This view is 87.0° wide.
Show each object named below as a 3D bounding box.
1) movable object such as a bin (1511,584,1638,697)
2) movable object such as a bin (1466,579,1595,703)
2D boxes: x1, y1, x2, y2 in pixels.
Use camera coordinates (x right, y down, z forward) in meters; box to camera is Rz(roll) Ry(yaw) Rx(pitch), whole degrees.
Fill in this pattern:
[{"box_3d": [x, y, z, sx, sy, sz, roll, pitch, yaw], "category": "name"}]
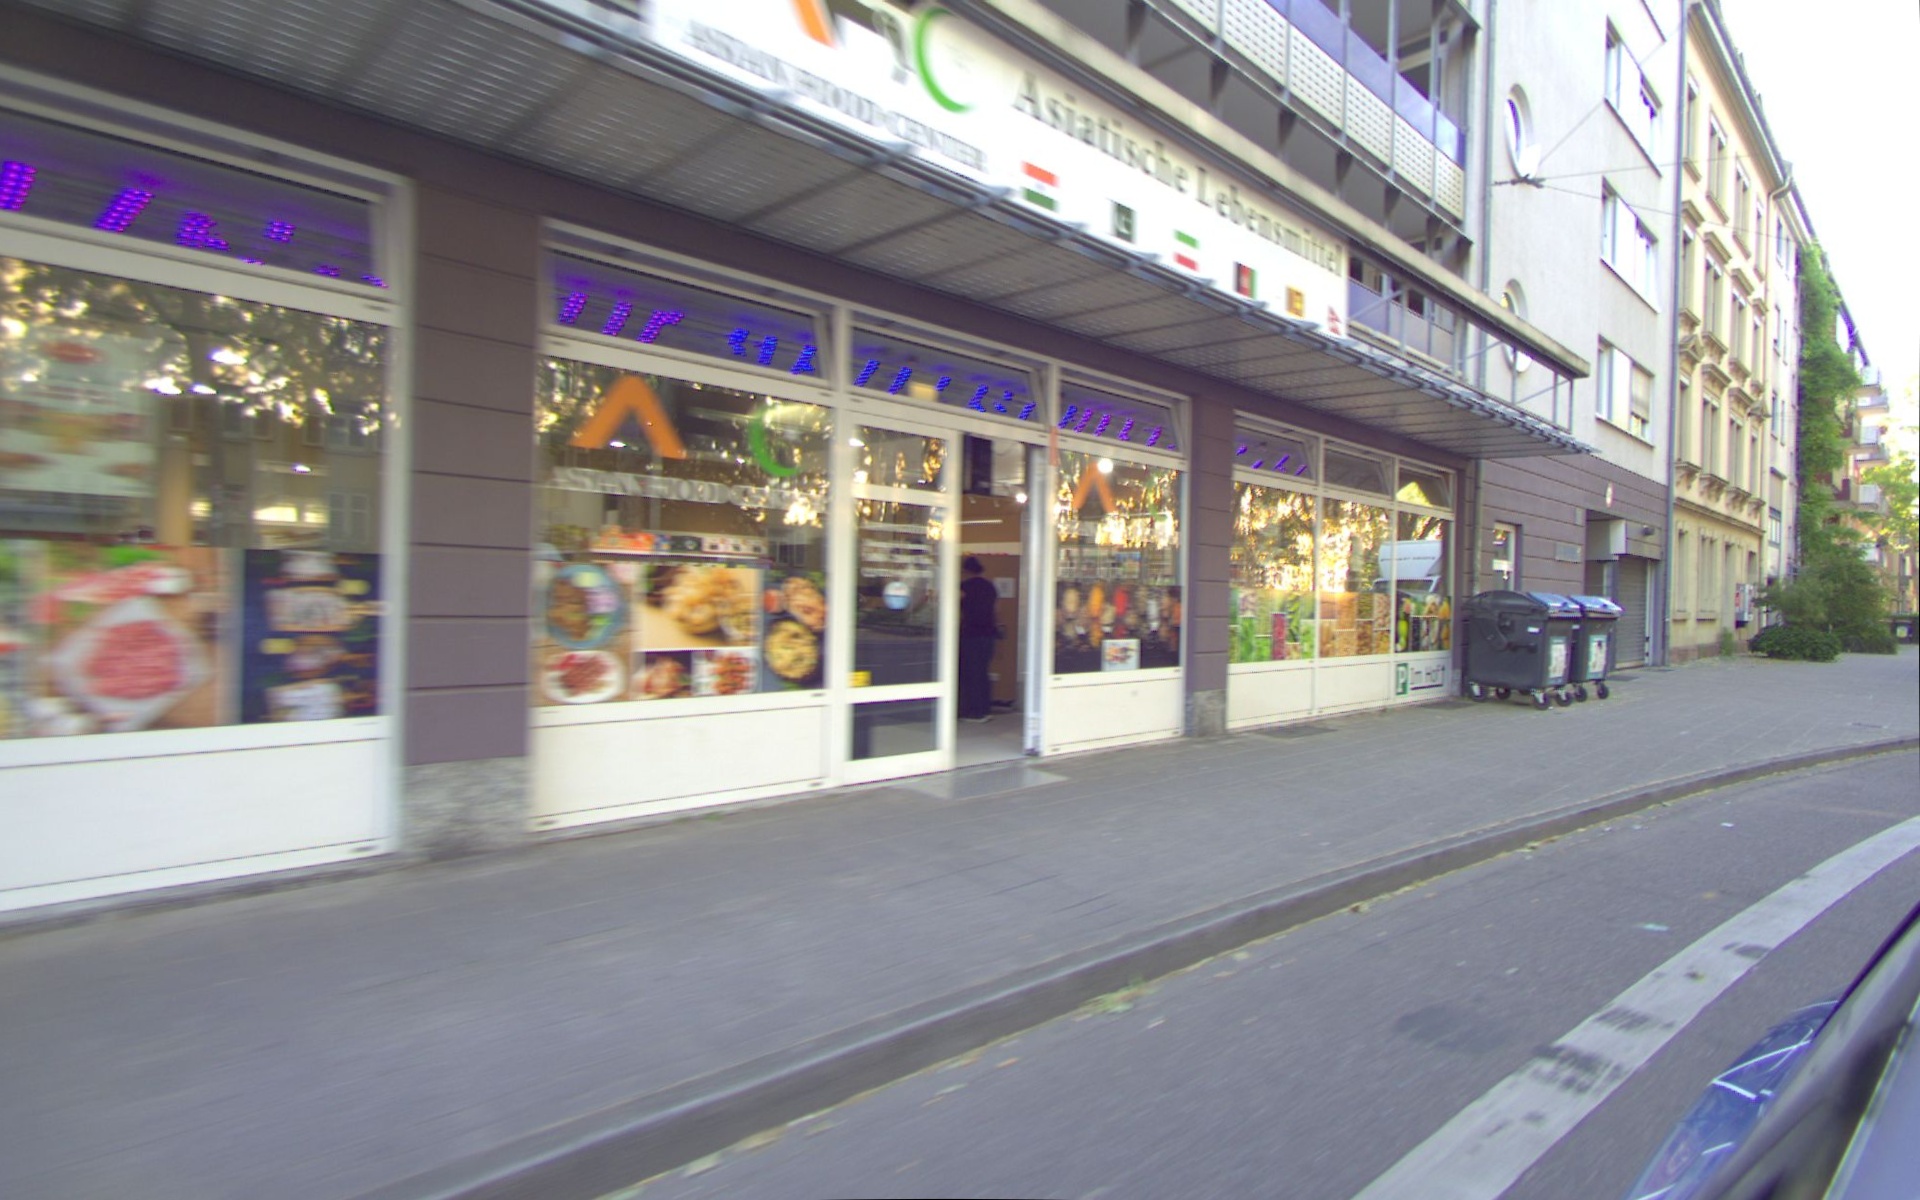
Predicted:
[{"box_3d": [8.584, 0.526, 14.139, 1.282, 1.464, 1.123, 1, 1, -38], "category": "movable object such as a bin"}, {"box_3d": [7.242, 0.479, 12.845, 1.274, 1.465, 1.068, 1, 1, -42], "category": "movable object such as a bin"}]
